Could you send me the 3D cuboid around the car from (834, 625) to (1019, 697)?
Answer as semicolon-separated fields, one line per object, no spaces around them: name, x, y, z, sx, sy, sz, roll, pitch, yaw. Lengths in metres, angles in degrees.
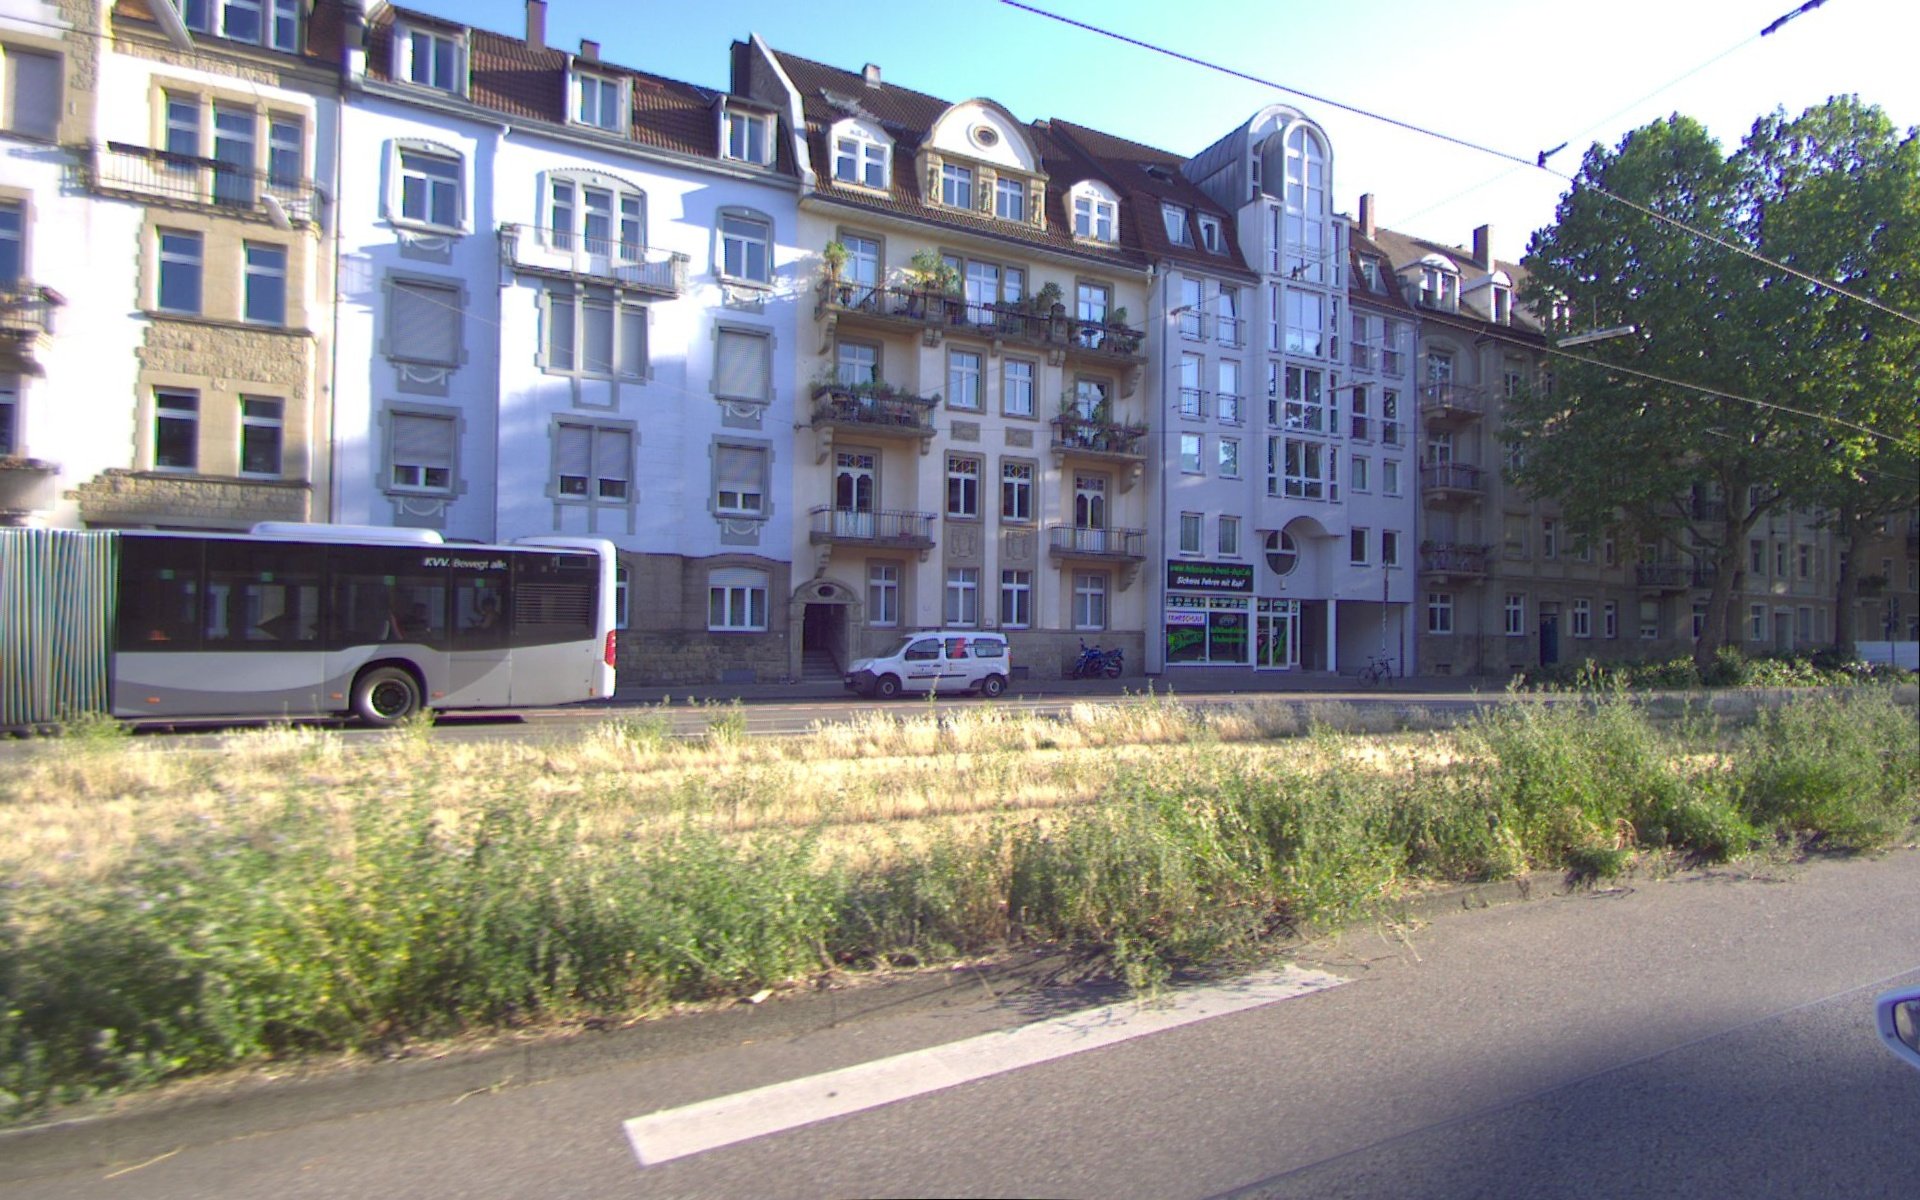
car;-0.886;1.651;26.995;4.591;1.810;1.899;3;-3;-25

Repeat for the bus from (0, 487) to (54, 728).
bus;-18.090;-0.074;12.231;9.772;3.418;3.254;3;-3;-27

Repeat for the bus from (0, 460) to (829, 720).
bus;-8.425;0.149;17.204;11.823;3.418;3.244;3;-3;-27

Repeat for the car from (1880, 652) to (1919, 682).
car;48.017;3.294;49.430;3.656;1.440;1.721;0;-2;22

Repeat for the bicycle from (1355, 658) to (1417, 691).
bicycle;14.959;2.624;35.318;1.862;1.047;0.757;2;3;-13

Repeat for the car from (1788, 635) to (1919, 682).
car;42.021;2.696;46.670;5.144;2.093;1.721;0;-2;22

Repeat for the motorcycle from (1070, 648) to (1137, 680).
motorcycle;4.881;2.161;34.057;2.389;1.035;0.526;2;0;-28
